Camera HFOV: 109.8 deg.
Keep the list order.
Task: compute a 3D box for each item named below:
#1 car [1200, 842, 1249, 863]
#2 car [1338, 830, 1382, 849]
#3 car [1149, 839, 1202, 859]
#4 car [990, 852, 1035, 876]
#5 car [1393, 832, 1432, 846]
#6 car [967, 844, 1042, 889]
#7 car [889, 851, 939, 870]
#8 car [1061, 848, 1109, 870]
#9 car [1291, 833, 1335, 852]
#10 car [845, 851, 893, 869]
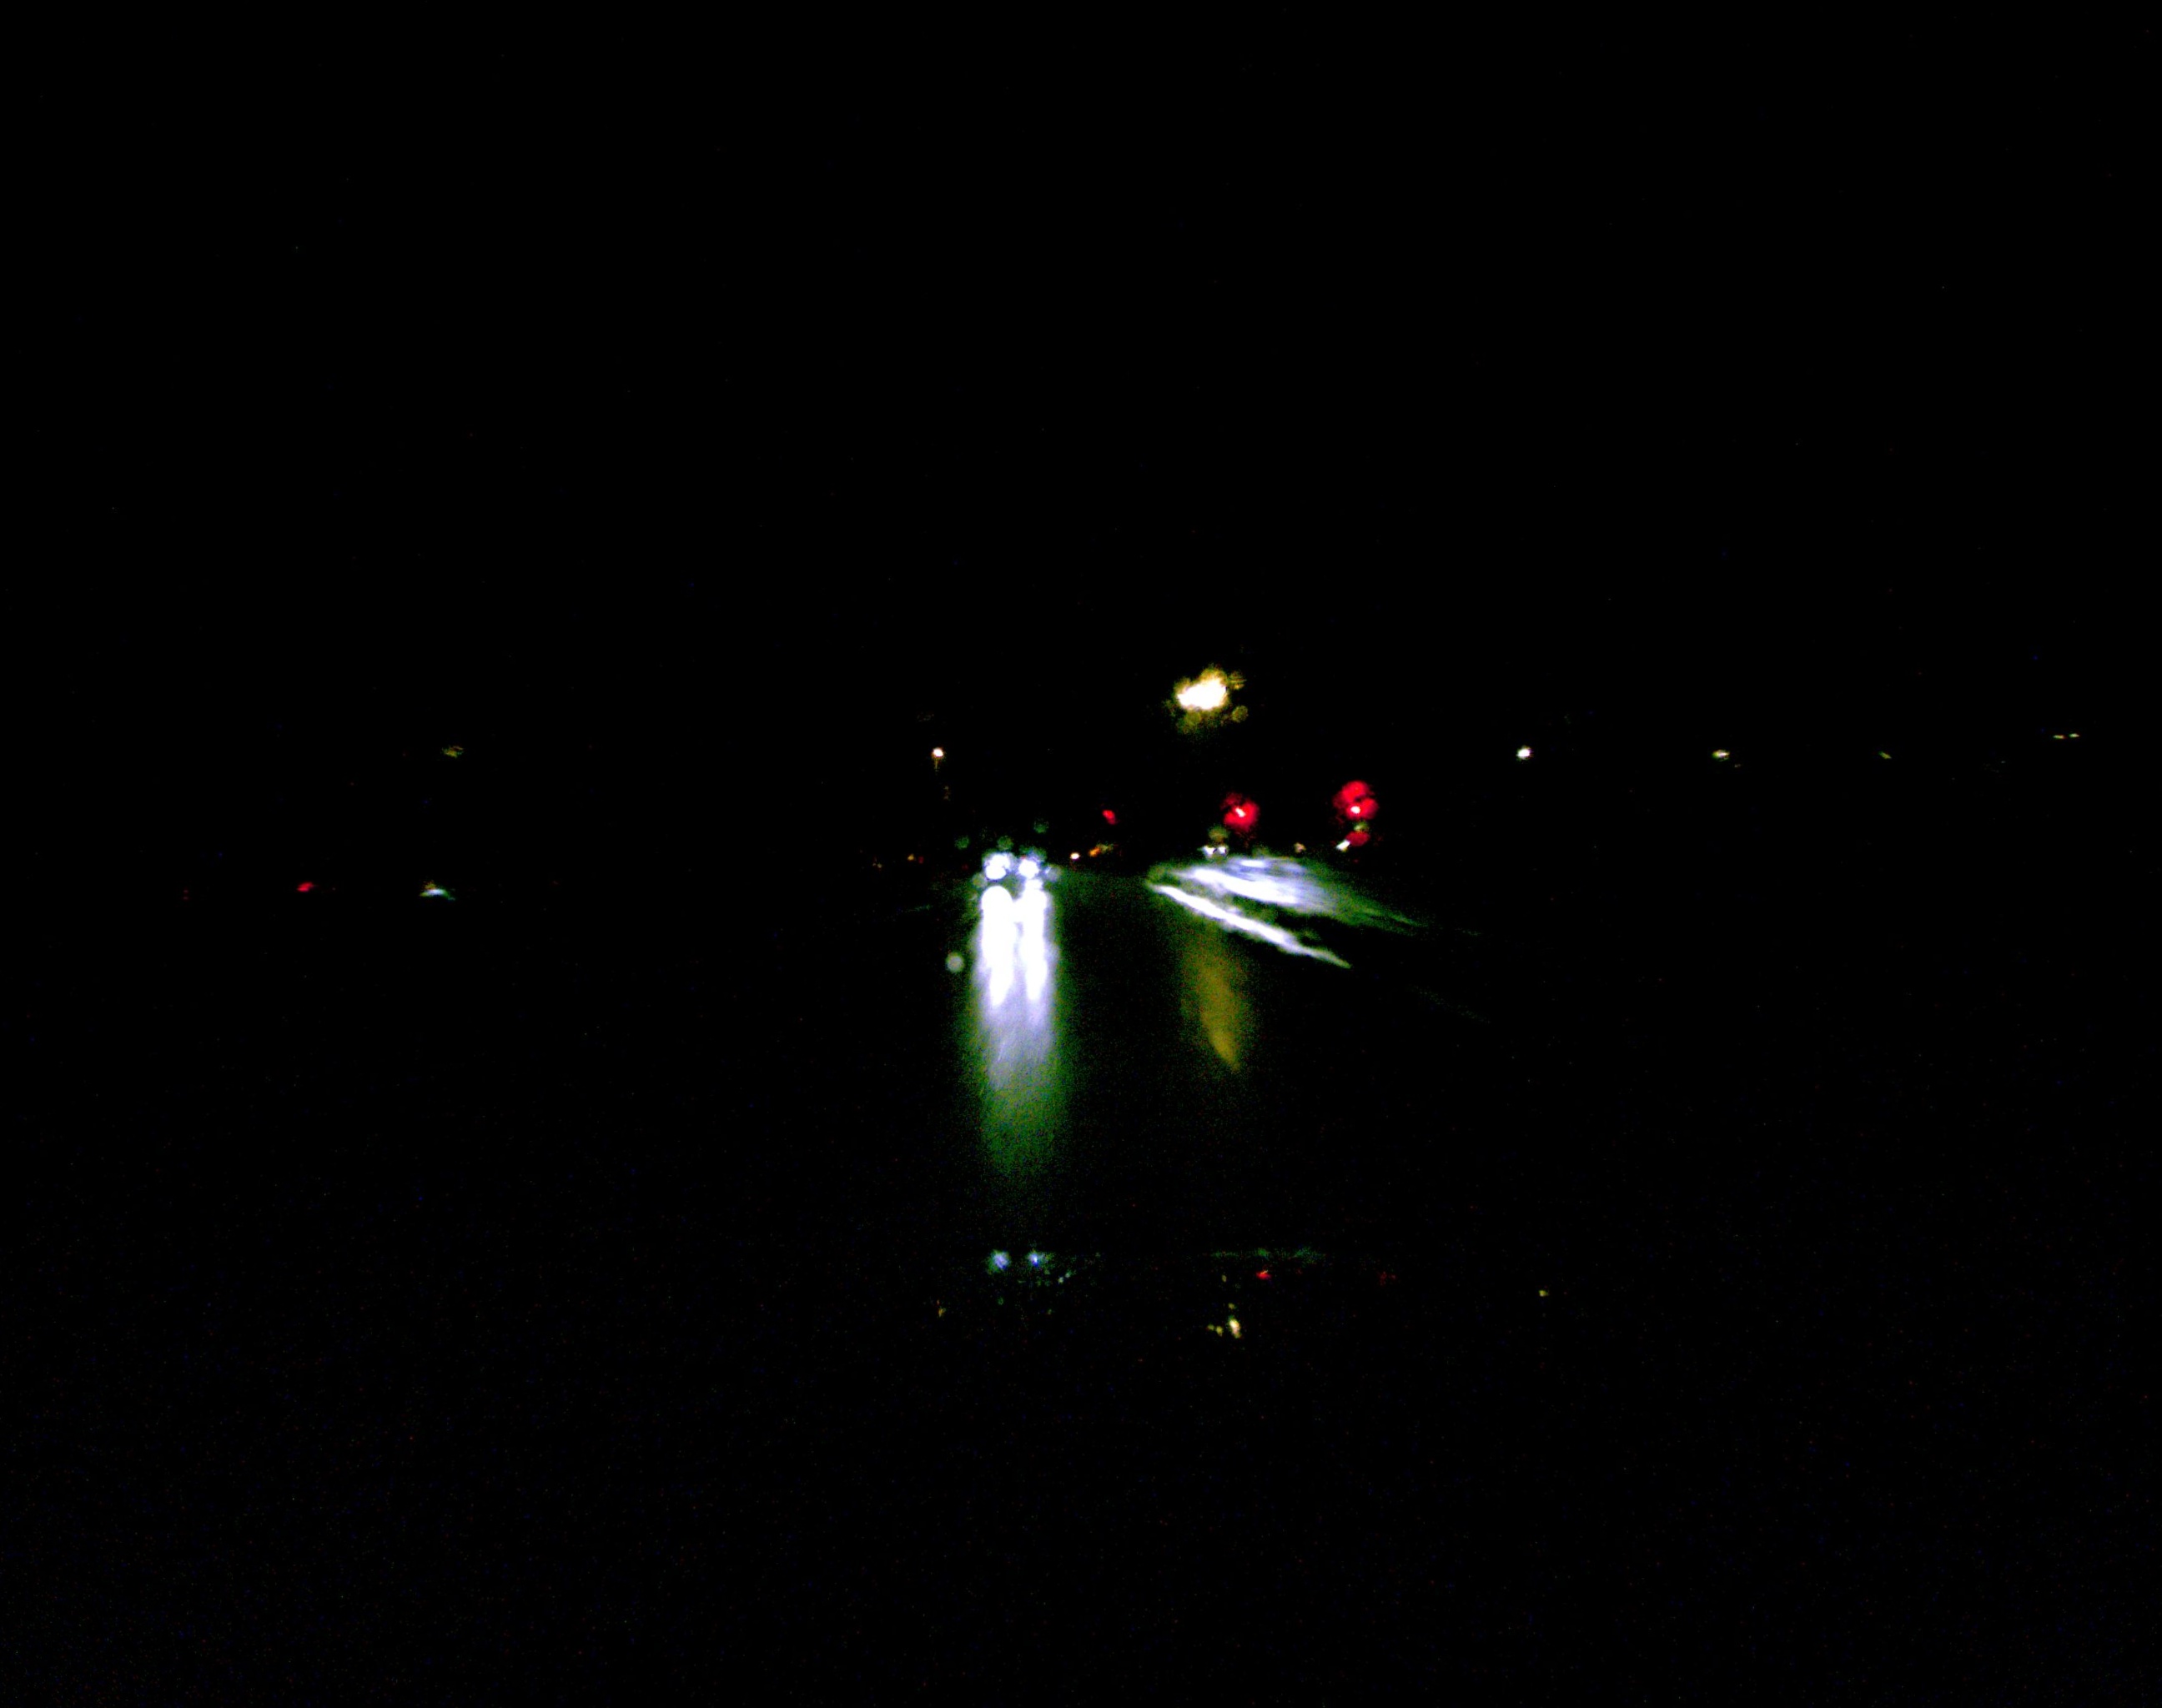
[{"bbox_3d":[13.531,-0.145,71.735,4.002,1.783,1.998,-3,0,-15],"label":"car"},{"bbox_3d":[29.931,-1.551,81.576,4.002,1.783,1.998,-3,0,-15],"label":"car"},{"bbox_3d":[7.863,-0.404,63.467,4.003,1.432,1.716,-3,0,-18],"label":"car"},{"bbox_3d":[-6.655,0.950,73.631,4.000,1.838,1.860,-7,0,-12],"label":"car"},{"bbox_3d":[38.325,-1.737,87.830,4.002,1.432,1.716,-3,-1,-18],"label":"car"},{"bbox_3d":[-3.419,0.514,33.167,2.002,1.737,4.092,-3,1,-24],"label":"car"},{"bbox_3d":[-14.416,0.569,65.594,4.003,1.432,1.716,-3,0,-18],"label":"car"},{"bbox_3d":[0.394,0.460,70.656,4.002,1.783,1.998,-3,0,-15],"label":"car"},{"bbox_3d":[25.209,-1.231,82.648,4.002,1.783,1.998,-3,0,-15],"label":"car"},{"bbox_3d":[-18.974,0.552,68.097,4.003,1.432,1.716,-3,0,-18],"label":"car"}]
